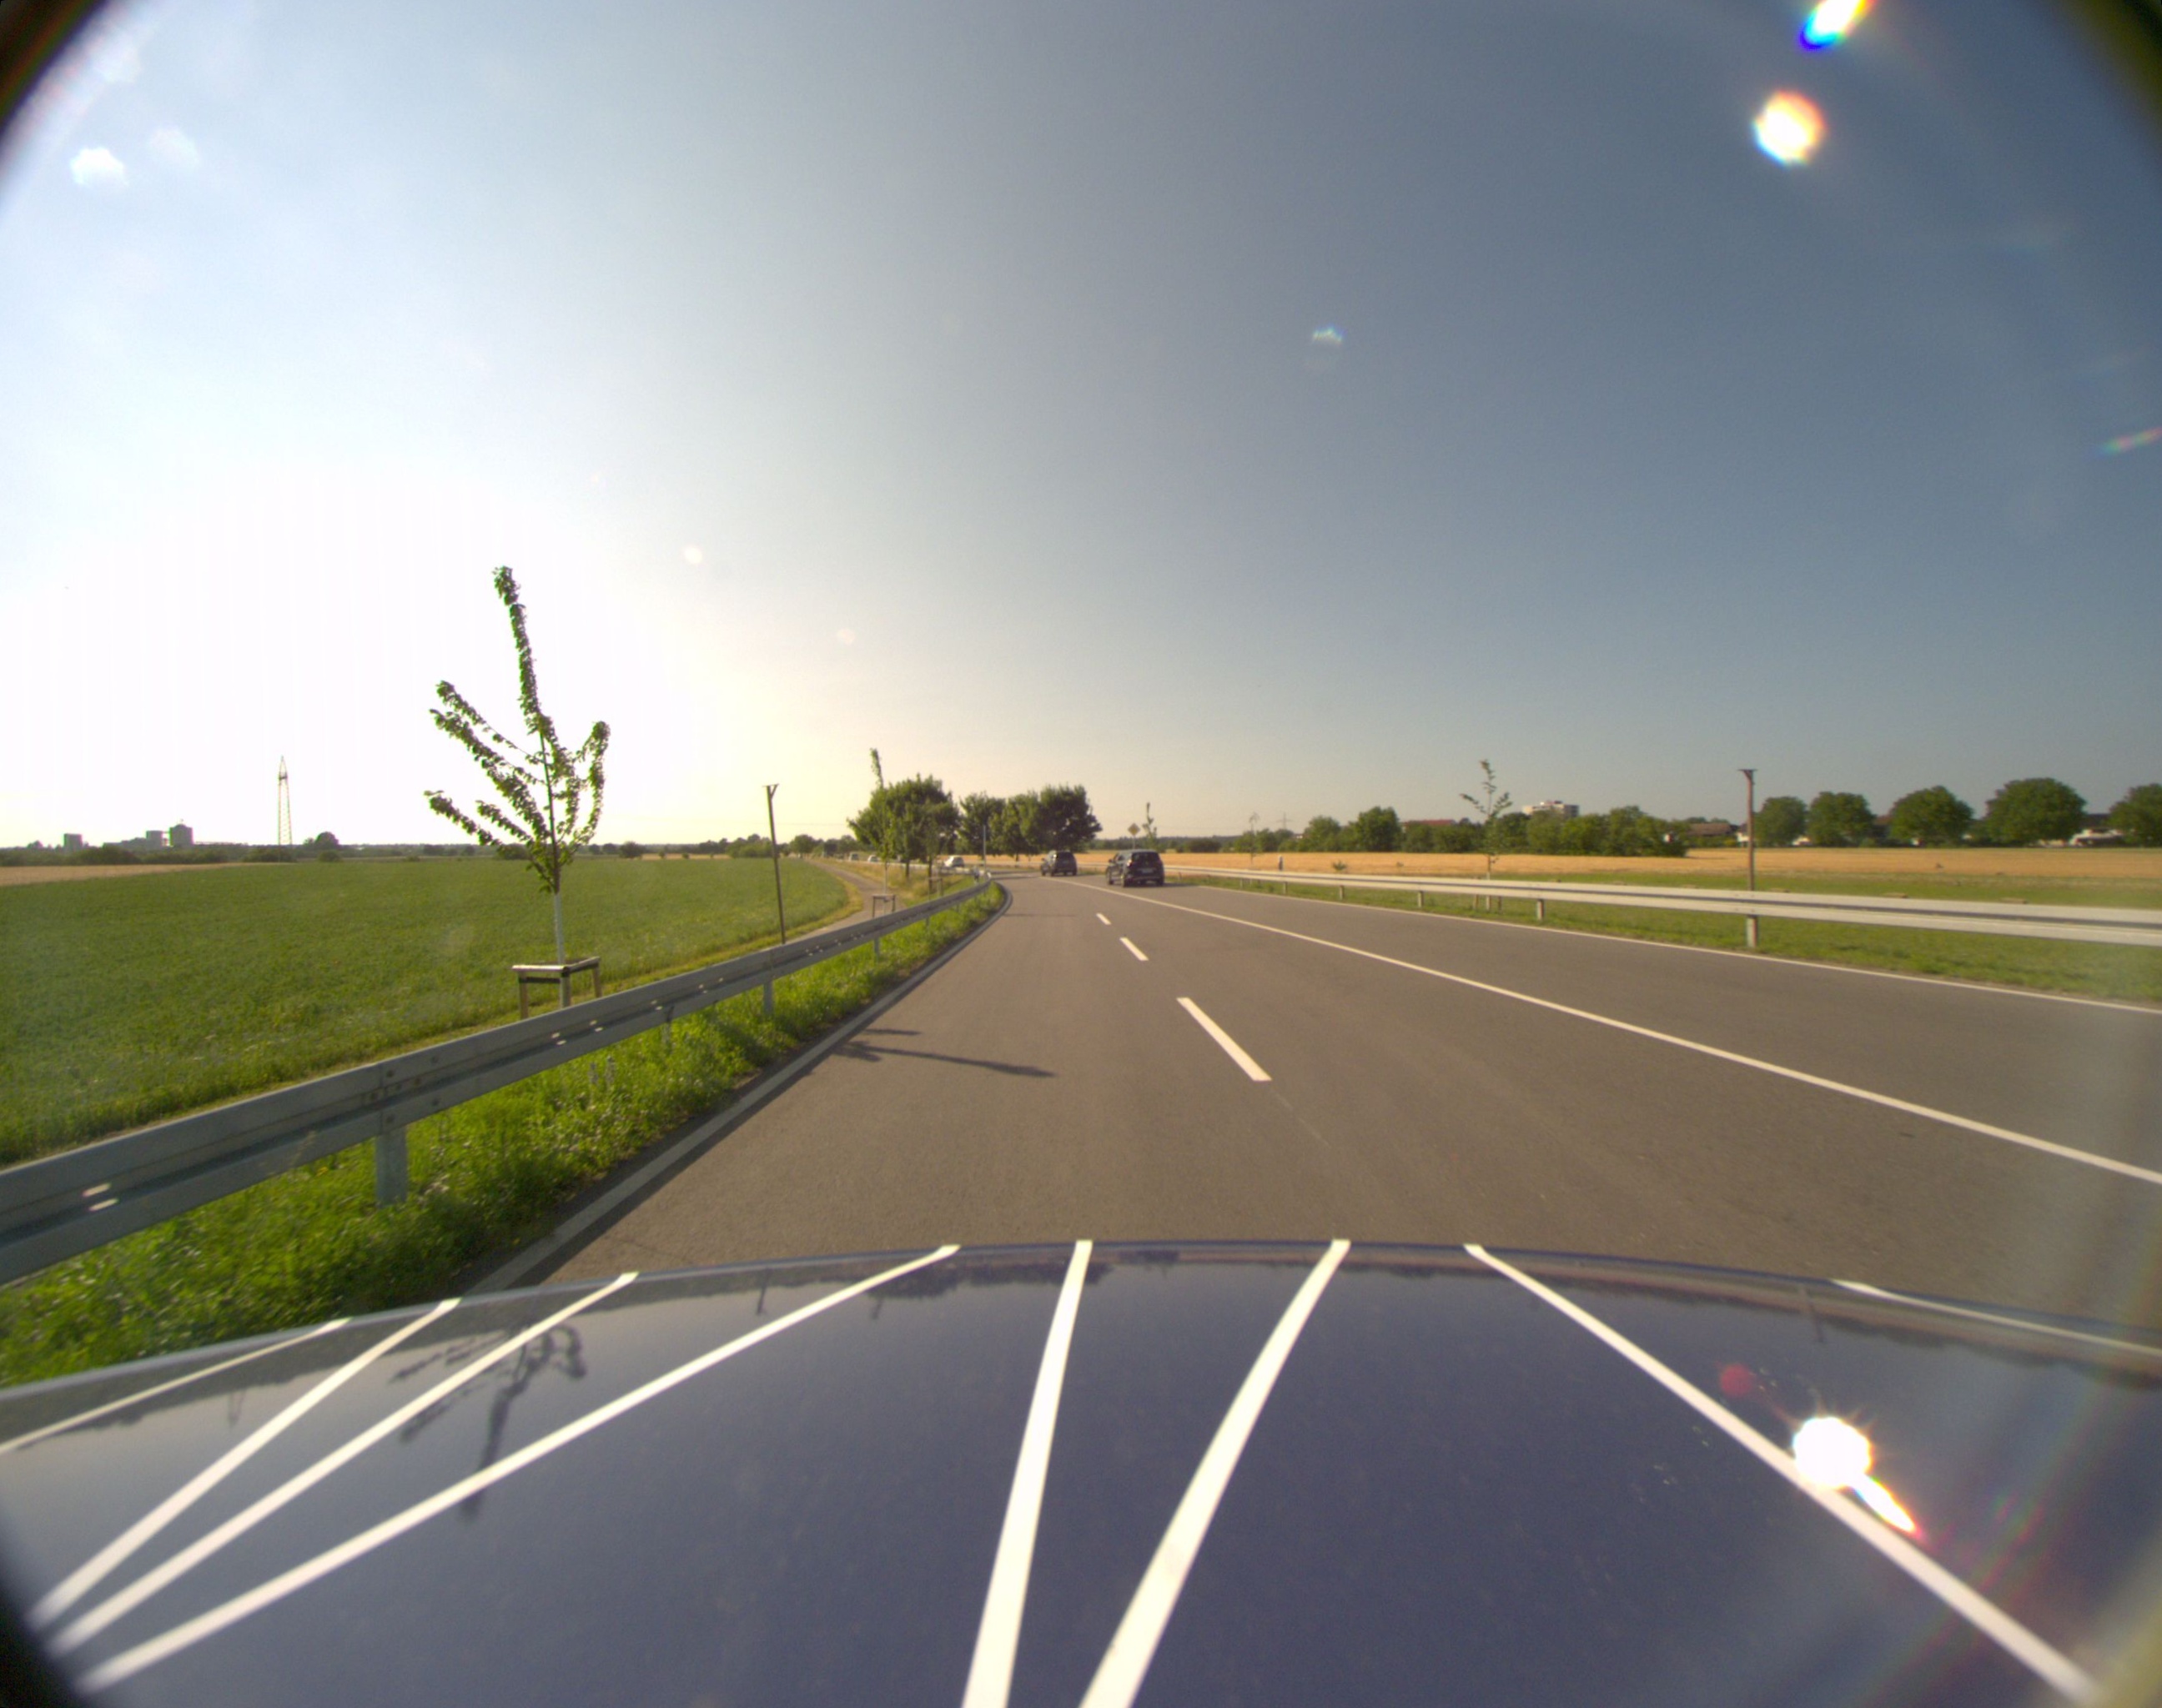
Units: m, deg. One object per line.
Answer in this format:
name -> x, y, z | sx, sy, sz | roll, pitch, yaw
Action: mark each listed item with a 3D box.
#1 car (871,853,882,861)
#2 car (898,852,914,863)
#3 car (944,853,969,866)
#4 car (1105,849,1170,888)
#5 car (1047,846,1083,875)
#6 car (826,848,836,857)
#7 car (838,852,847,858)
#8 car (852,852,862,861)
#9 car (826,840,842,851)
car -> -42.208, 0.629, 156.810 | 1.759, 1.421, 3.838 | -3, 2, -23
car -> -28.133, 0.586, 122.312 | 1.845, 1.536, 4.235 | -4, 3, -21
car -> -14.997, 0.665, 91.276 | 1.861, 1.441, 4.145 | -4, 2, -24
car -> 2.538, 0.624, 35.418 | 2.000, 1.583, 4.859 | -3, 0, -8
car -> -1.180, 0.421, 52.960 | 1.888, 1.787, 5.087 | -3, 1, -8
car -> -57.380, -0.329, 174.268 | 1.791, 2.002, 3.991 | -4, 2, -24
car -> -68.852, 0.182, 219.058 | 2.017, 1.576, 4.817 | -1, 2, -23
car -> -54.893, 0.620, 186.105 | 1.920, 2.003, 4.773 | -3, 3, -22
car -> -49.748, -1.711, 152.872 | 2.819, 2.002, 6.091 | -3, 2, -18
